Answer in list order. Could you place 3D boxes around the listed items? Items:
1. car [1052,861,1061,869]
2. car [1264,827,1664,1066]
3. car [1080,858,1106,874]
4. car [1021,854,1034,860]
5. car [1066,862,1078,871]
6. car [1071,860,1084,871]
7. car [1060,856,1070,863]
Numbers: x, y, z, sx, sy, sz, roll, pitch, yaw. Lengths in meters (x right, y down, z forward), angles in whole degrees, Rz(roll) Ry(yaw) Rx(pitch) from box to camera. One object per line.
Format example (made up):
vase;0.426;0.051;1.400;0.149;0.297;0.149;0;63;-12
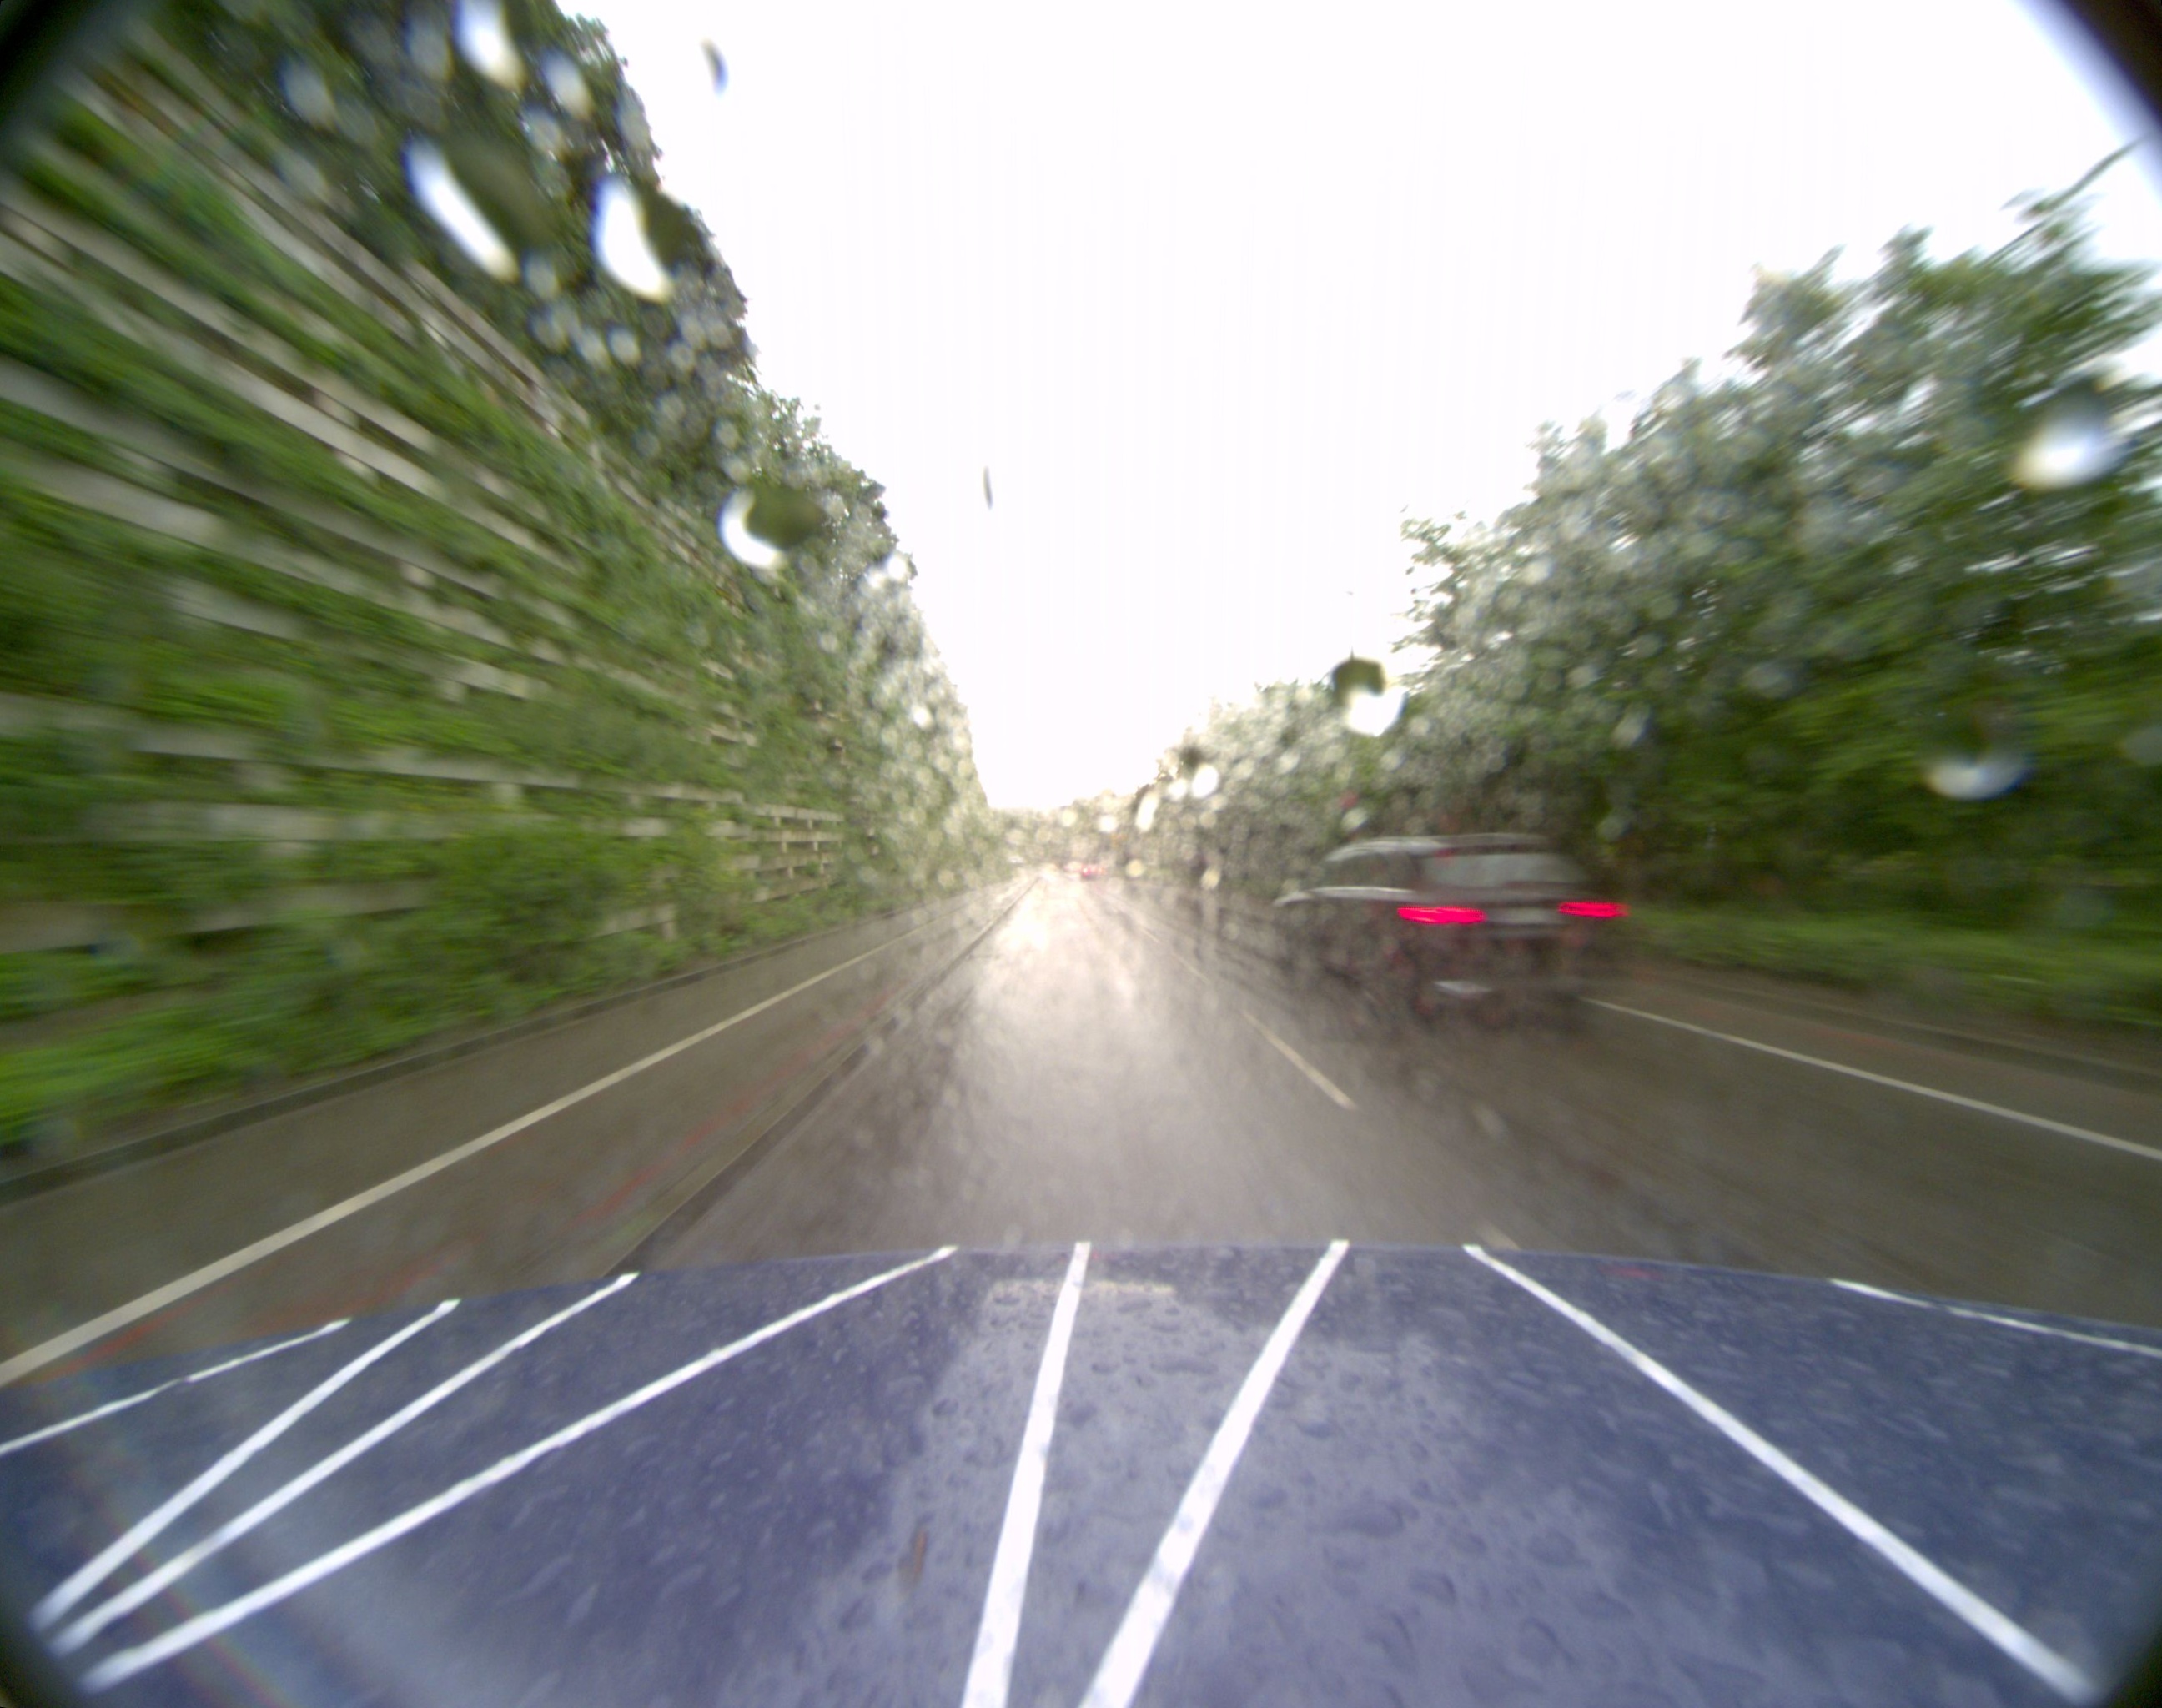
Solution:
car;-5.365;2.359;166.456;1.737;1.608;3.999;-1;1;0
car;3.352;0.684;7.772;1.835;1.696;4.333;-2;0;0
car;1.086;1.063;70.633;1.999;1.356;4.250;-2;0;-3
car;-15.818;0.762;223.883;3.824;1.559;1.773;2;1;-7
car;-1.610;2.212;135.481;1.870;1.440;4.376;-1;0;-4
car;-0.561;1.713;118.462;1.828;1.605;4.093;-2;0;-1
car;-3.661;1.175;173.492;1.998;1.494;4.729;-2;0;1
